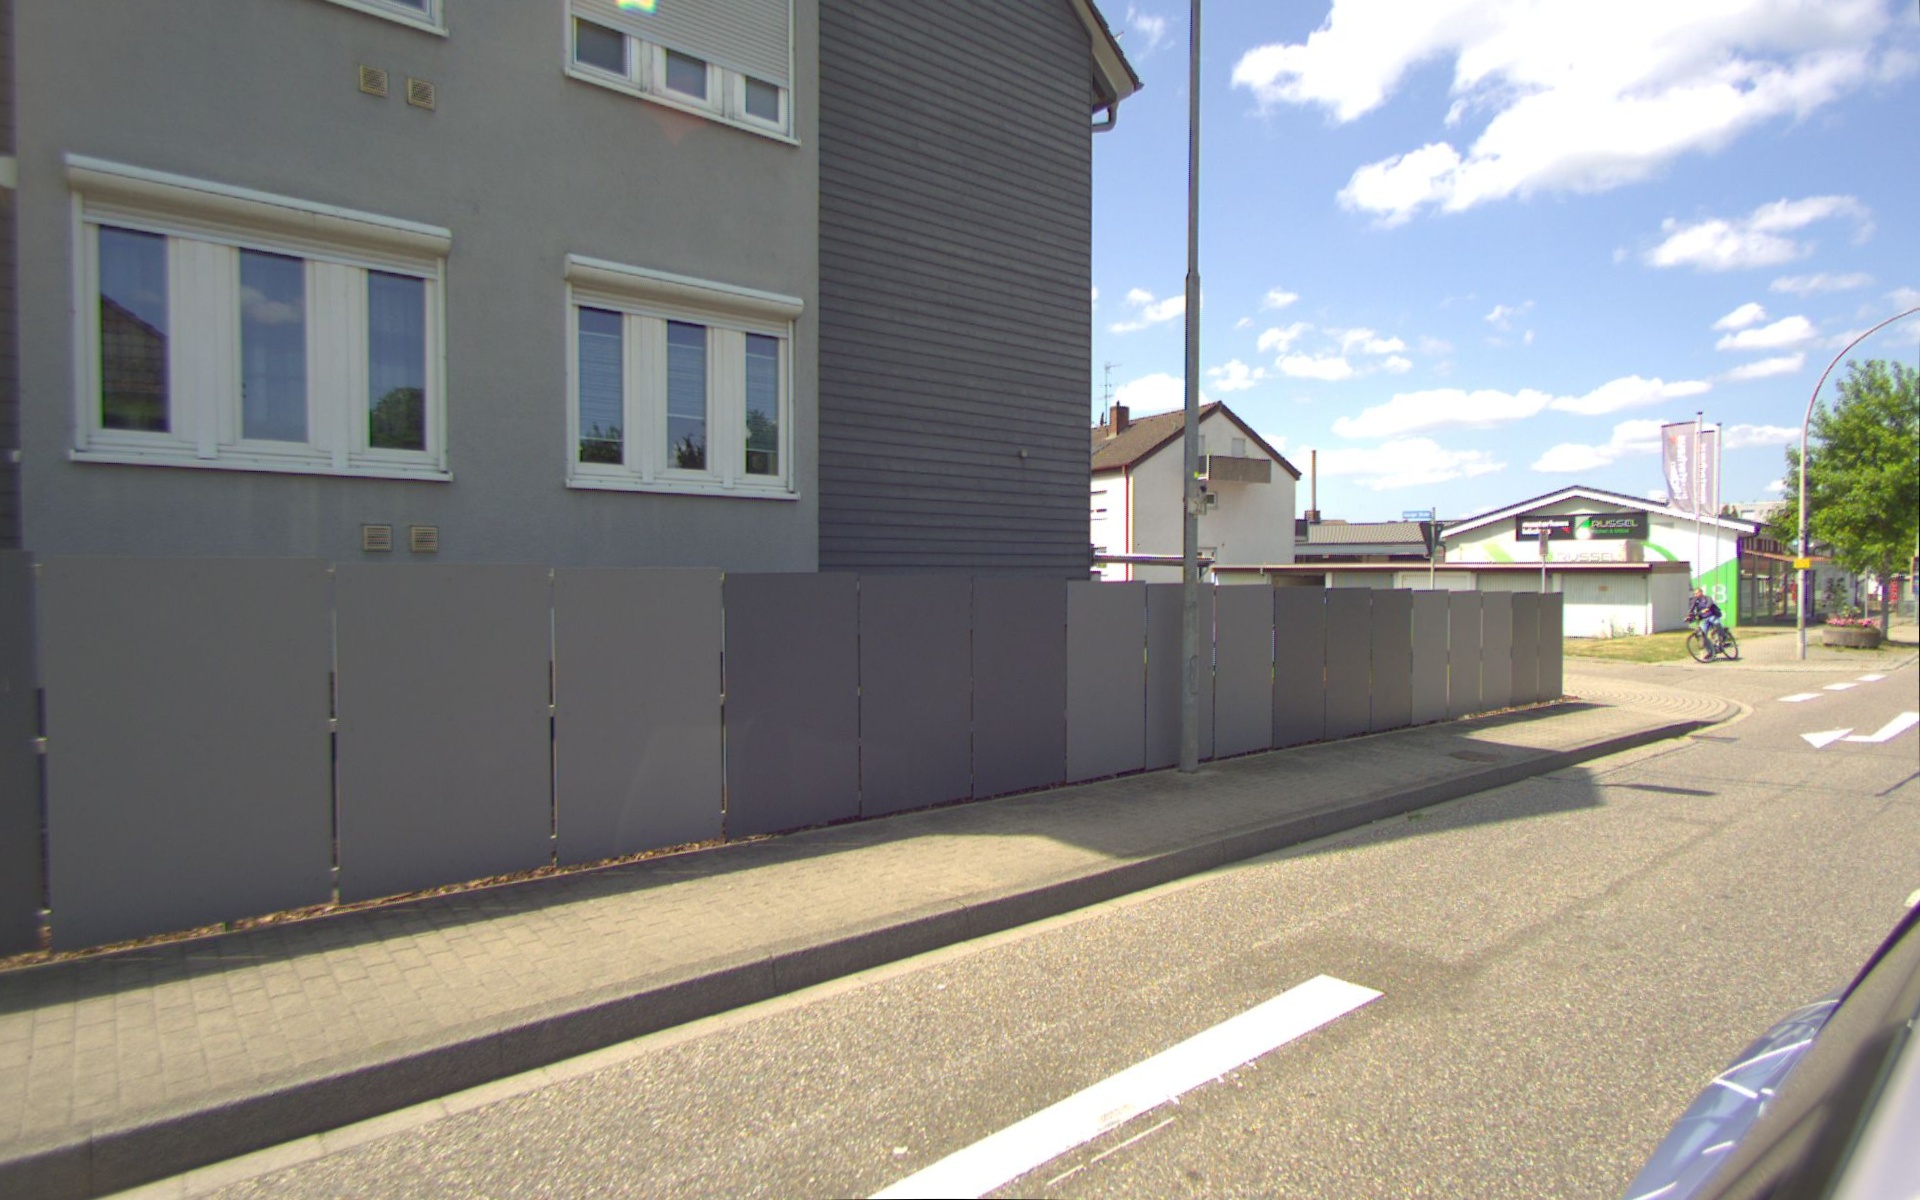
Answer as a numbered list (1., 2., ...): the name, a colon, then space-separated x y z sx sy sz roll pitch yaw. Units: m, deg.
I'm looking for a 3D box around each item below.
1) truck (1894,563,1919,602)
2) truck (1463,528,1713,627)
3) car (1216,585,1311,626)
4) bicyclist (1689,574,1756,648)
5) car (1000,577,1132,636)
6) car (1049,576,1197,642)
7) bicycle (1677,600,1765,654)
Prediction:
1. truck: 71.955 -1.310 75.837 2.571 2.795 6.241 3 3 41
2. truck: 25.001 -0.901 40.717 2.633 3.617 8.180 -2 2 -42
3. car: 11.923 0.172 39.600 4.060 1.522 1.678 -1 1 -41
4. bicyclist: 17.444 0.238 23.161 1.088 1.650 0.807 1 0 -25
5. car: 3.196 0.207 30.277 3.784 1.607 1.741 2 1 -40
6. car: 4.572 0.260 28.123 4.140 1.669 1.741 2 1 -40
7. bicycle: 17.448 0.602 23.190 1.903 1.179 0.807 1 0 -25
